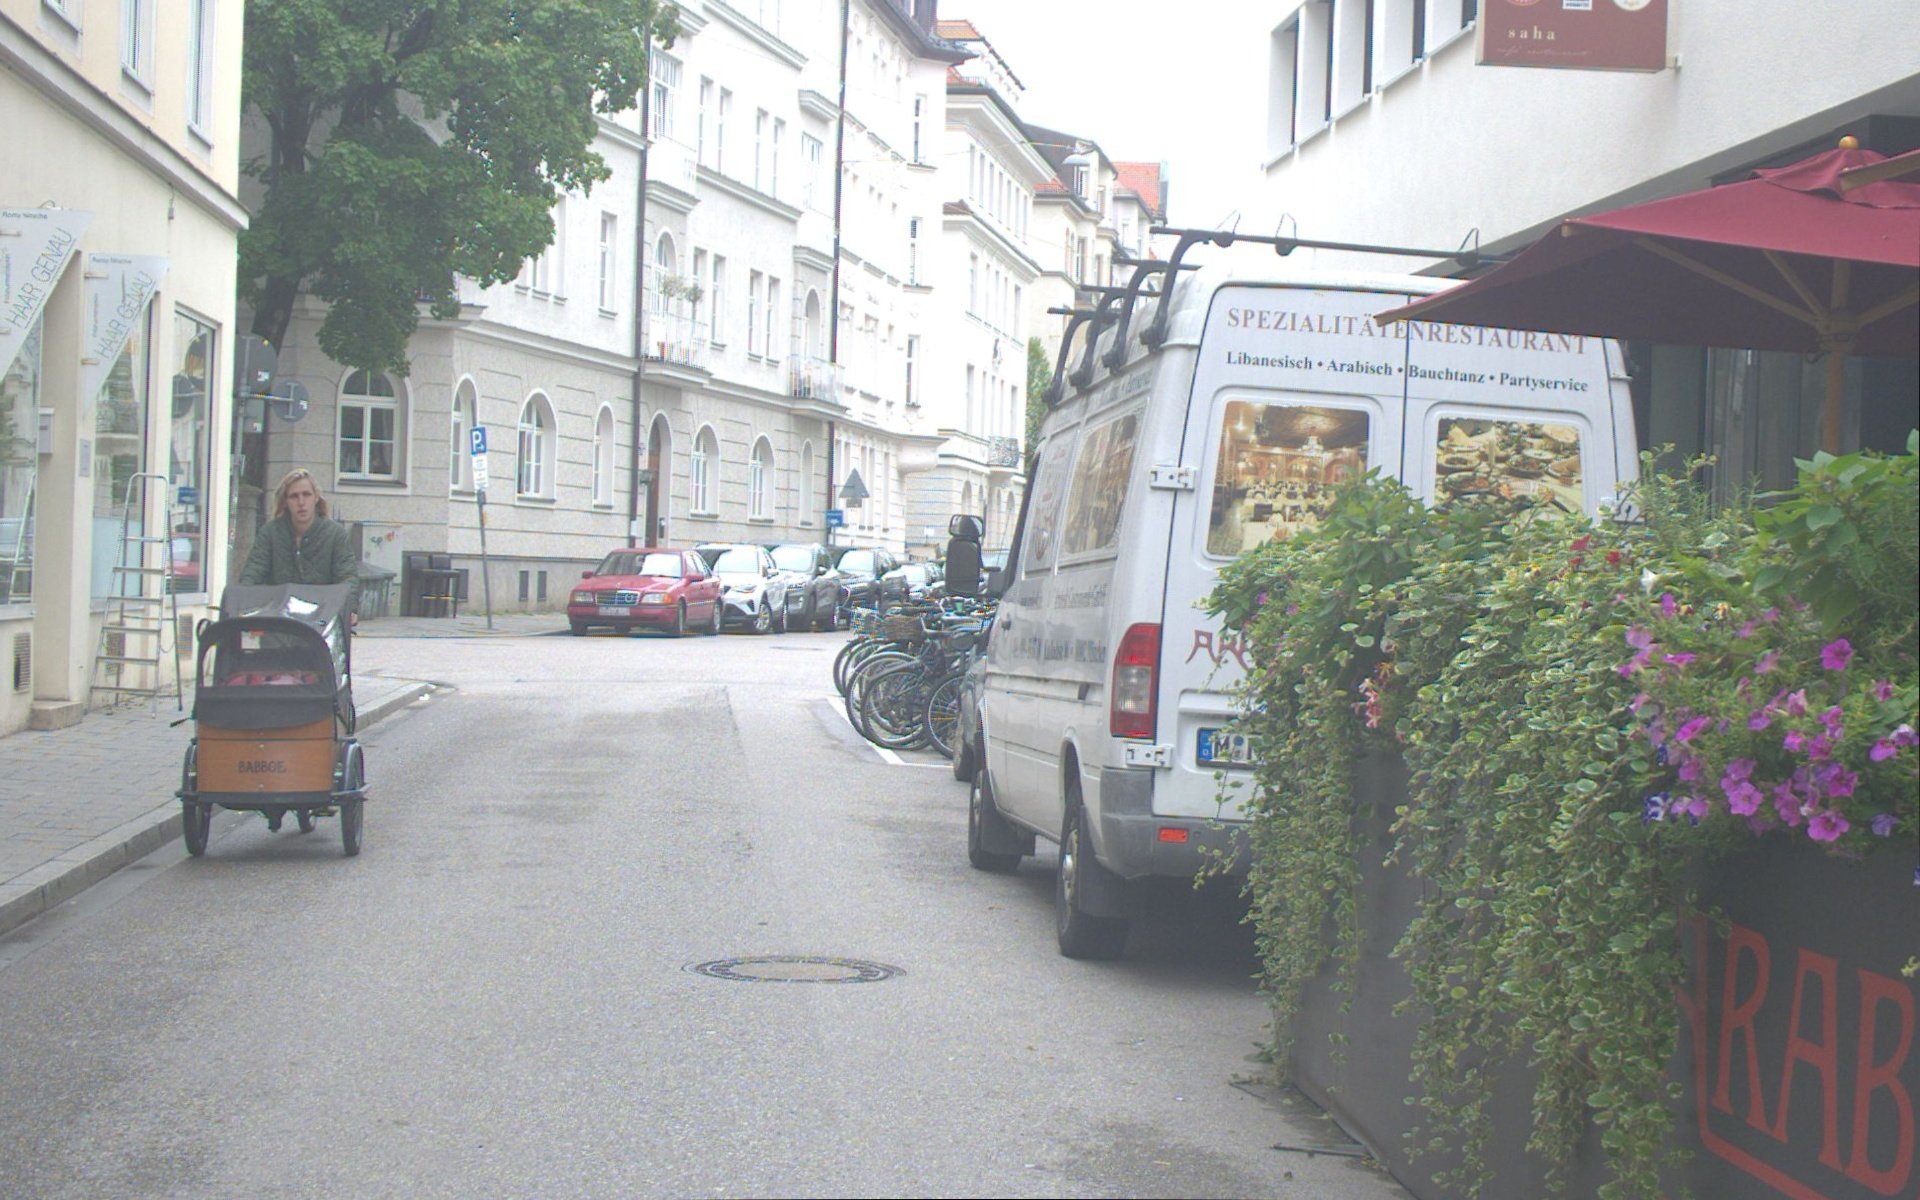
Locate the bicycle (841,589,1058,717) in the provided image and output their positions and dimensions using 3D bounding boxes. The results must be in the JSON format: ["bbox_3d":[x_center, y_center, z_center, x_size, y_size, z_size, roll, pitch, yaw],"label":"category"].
[{"bbox_3d":[-0.099,0.475,30.855,1.873,1.076,0.408,2,2,-7],"label":"bicycle"}]

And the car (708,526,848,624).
[{"bbox_3d":[-3.344,-0.476,63.910,1.943,1.696,3.999,2,1,6],"label":"car"}]

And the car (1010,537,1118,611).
[{"bbox_3d":[2.402,-0.609,78.479,1.958,1.602,4.307,2,1,8],"label":"car"}]

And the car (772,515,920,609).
[{"bbox_3d":[-2.236,-0.750,68.769,1.994,1.732,4.520,2,1,10],"label":"car"}]

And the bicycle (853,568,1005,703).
[{"bbox_3d":[-0.314,0.355,34.331,1.456,1.281,0.445,2,1,-3],"label":"bicycle"}]

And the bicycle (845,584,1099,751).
[{"bbox_3d":[0.086,0.516,26.432,1.873,1.200,0.488,2,2,-6],"label":"bicycle"}]

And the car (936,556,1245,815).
[{"bbox_3d":[0.756,0.482,21.988,1.580,1.459,3.552,2,1,-4],"label":"car"}]

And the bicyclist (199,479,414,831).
[{"bbox_3d":[-3.282,0.259,17.348,0.926,1.715,1.100,0,1,-4],"label":"bicyclist"}]

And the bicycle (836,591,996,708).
[{"bbox_3d":[-0.433,0.480,33.313,1.450,1.066,0.463,2,1,-11],"label":"bicycle"}]

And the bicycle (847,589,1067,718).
[{"bbox_3d":[-0.029,0.473,30.420,1.873,1.076,0.402,2,2,-7],"label":"bicycle"}]

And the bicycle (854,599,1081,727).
[{"bbox_3d":[0.061,0.541,29.727,1.873,1.048,0.564,2,-1,-7],"label":"bicycle"}]

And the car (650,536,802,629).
[{"bbox_3d":[-3.977,-0.310,59.095,1.994,1.468,4.218,2,1,4],"label":"car"}]

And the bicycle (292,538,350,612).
[{"bbox_3d":[-9.756,-0.390,52.502,0.493,1.049,1.827,2,3,1],"label":"bicycle"}]

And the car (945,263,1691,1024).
[{"bbox_3d":[1.211,0.096,14.667,1.920,2.497,5.998,3,1,-5],"label":"car"}]

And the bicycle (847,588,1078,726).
[{"bbox_3d":[0.019,0.480,29.019,1.873,1.091,0.440,2,2,-7],"label":"bicycle"}]

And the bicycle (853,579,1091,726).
[{"bbox_3d":[0.092,0.431,28.464,1.893,1.166,0.566,1,1,-7],"label":"bicycle"}]

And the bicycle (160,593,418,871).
[{"bbox_3d":[-3.261,0.602,16.937,0.932,1.253,2.414,1,0,-4],"label":"bicycle"}]

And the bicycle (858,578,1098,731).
[{"bbox_3d":[0.137,0.436,27.852,1.873,1.200,0.580,1,1,-6],"label":"bicycle"}]

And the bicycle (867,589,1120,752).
[{"bbox_3d":[0.257,0.550,27.128,1.873,1.153,0.565,3,2,-6],"label":"bicycle"}]

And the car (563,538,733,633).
[{"bbox_3d":[-4.857,-0.238,54.013,1.731,1.373,4.225,2,1,8],"label":"car"}]

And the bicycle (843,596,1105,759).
[{"bbox_3d":[0.097,0.578,25.912,1.873,1.104,0.488,3,2,-6],"label":"bicycle"}]

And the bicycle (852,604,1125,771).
[{"bbox_3d":[0.200,0.635,25.059,1.873,1.076,0.488,4,2,-6],"label":"bicycle"}]
